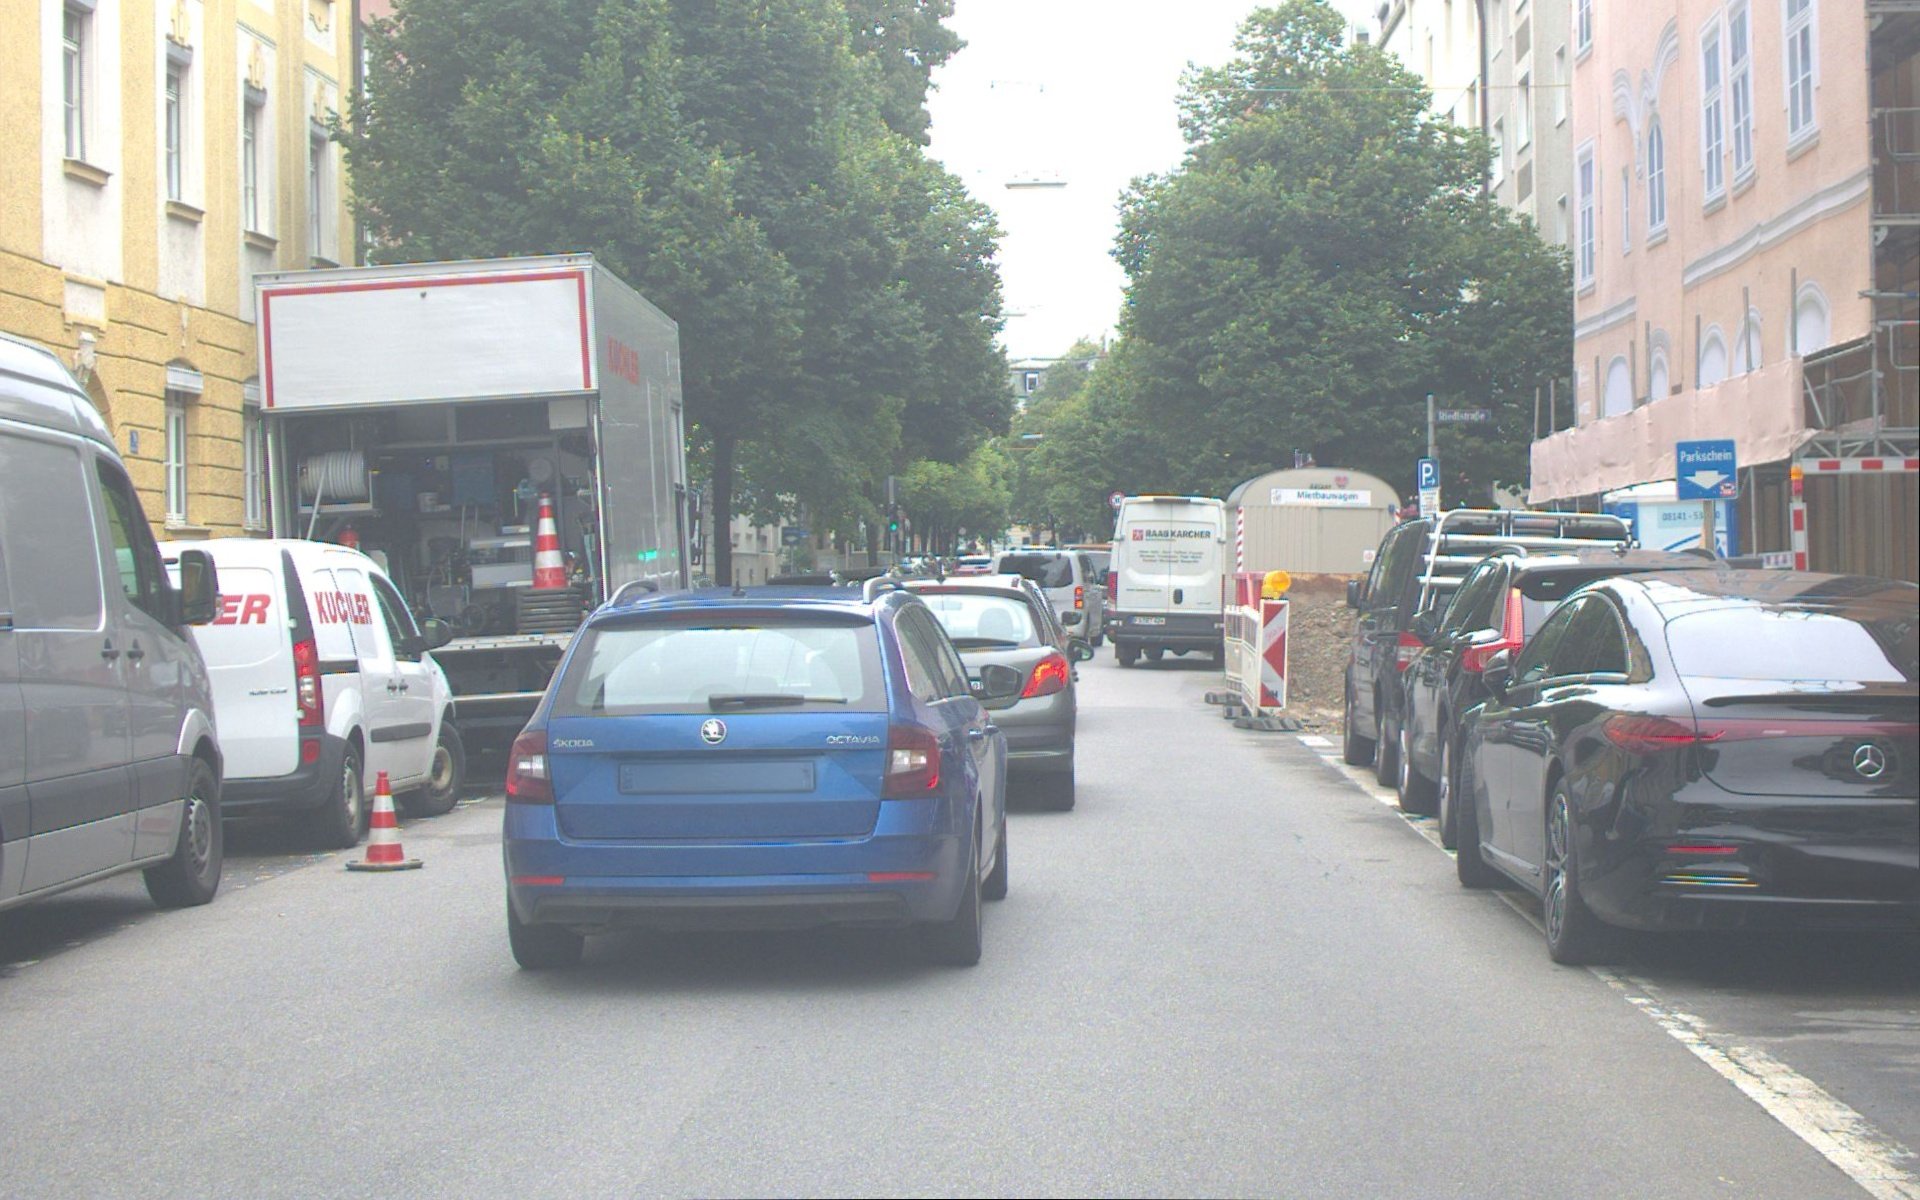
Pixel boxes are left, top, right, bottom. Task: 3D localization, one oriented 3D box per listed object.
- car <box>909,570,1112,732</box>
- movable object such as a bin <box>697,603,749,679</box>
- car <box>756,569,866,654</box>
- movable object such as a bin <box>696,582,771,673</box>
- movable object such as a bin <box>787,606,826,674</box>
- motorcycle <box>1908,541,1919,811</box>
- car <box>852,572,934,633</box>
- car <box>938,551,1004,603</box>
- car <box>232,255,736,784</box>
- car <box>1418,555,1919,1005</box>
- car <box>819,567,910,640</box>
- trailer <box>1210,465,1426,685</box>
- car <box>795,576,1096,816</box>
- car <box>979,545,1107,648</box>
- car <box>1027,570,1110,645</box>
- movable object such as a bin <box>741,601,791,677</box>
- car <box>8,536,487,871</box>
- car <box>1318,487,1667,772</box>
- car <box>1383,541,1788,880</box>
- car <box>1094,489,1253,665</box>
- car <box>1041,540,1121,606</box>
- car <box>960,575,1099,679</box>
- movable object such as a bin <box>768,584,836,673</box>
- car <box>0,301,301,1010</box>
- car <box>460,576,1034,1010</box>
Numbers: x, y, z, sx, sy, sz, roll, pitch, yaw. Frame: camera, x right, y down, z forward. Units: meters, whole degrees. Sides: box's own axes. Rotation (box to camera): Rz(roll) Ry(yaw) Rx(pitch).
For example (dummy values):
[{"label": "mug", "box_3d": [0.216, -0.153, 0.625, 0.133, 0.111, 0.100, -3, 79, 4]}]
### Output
[{"label": "car", "box_3d": [0.508, 0.451, 34.171, 1.867, 1.449, 4.347, 1, 1, 1]}, {"label": "movable object such as a bin", "box_3d": [-3.679, 0.634, 53.422, 0.721, 1.134, 0.658, -3, 1, -1]}, {"label": "car", "box_3d": [-2.658, 0.179, 62.177, 1.812, 1.473, 4.000, 0, 1, 0]}, {"label": "movable object such as a bin", "box_3d": [-3.570, 0.421, 54.304, 1.081, 1.372, 1.084, -3, 1, -2]}, {"label": "movable object such as a bin", "box_3d": [-2.390, 0.618, 53.491, 0.546, 1.017, 0.636, -3, 1, -1]}, {"label": "motorcycle", "box_3d": [5.713, 0.423, 18.337, 0.871, 1.499, 1.997, 0, 0, 4]}, {"label": "car", "box_3d": [-1.633, 0.044, 84.928, 1.812, 1.473, 4.000, 0, 1, 2]}, {"label": "car", "box_3d": [0.395, -0.784, 113.929, 2.008, 1.647, 4.347, 1, 1, 2]}, {"label": "car", "box_3d": [-3.754, -0.601, 29.391, 2.813, 3.804, 8.723, -1, 0, 2]}, {"label": "car", "box_3d": [3.243, 0.592, 14.638, 1.931, 1.548, 5.637, 0, 1, 1]}, {"label": "car", "box_3d": [-1.993, 0.052, 72.891, 1.812, 1.473, 4.000, 0, 1, 0]}, {"label": "trailer", "box_3d": [4.903, -0.334, 48.165, 2.502, 2.830, 6.901, 1, 0, 2]}, {"label": "car", "box_3d": [-0.017, 0.572, 22.477, 1.741, 1.417, 3.663, -1, 0, 3]}, {"label": "car", "box_3d": [1.605, -0.096, 64.915, 1.868, 1.863, 4.346, 1, 1, 9]}, {"label": "car", "box_3d": [2.524, 0.151, 79.698, 1.867, 1.647, 4.347, 1, 1, 2]}, {"label": "movable object such as a bin", "box_3d": [-3.010, 0.604, 53.452, 0.711, 1.144, 0.636, -3, 1, -1]}, {"label": "car", "box_3d": [-4.219, 0.555, 21.064, 1.763, 1.773, 4.326, -2, 0, 3]}, {"label": "car", "box_3d": [3.901, 0.283, 26.023, 2.082, 1.914, 5.139, 1, -2, 3]}, {"label": "car", "box_3d": [3.490, 0.564, 19.898, 1.694, 1.671, 4.407, 2, 0, 3]}, {"label": "car", "box_3d": [3.497, -0.352, 55.318, 2.113, 2.654, 5.498, 1, 0, 8]}, {"label": "car", "box_3d": [3.167, -0.723, 89.862, 2.008, 1.647, 4.347, 1, 1, 2]}, {"label": "car", "box_3d": [0.999, 0.348, 48.943, 1.867, 1.343, 4.347, 1, 1, 1]}, {"label": "movable object such as a bin", "box_3d": [-2.547, 0.448, 55.449, 1.020, 1.372, 1.104, -3, 1, -2]}, {"label": "car", "box_3d": [-4.498, 0.244, 13.645, 2.056, 2.578, 6.876, -5, 0, 2]}, {"label": "car", "box_3d": [-0.683, 0.647, 13.861, 1.789, 1.455, 4.314, -1, 0, 3]}]
